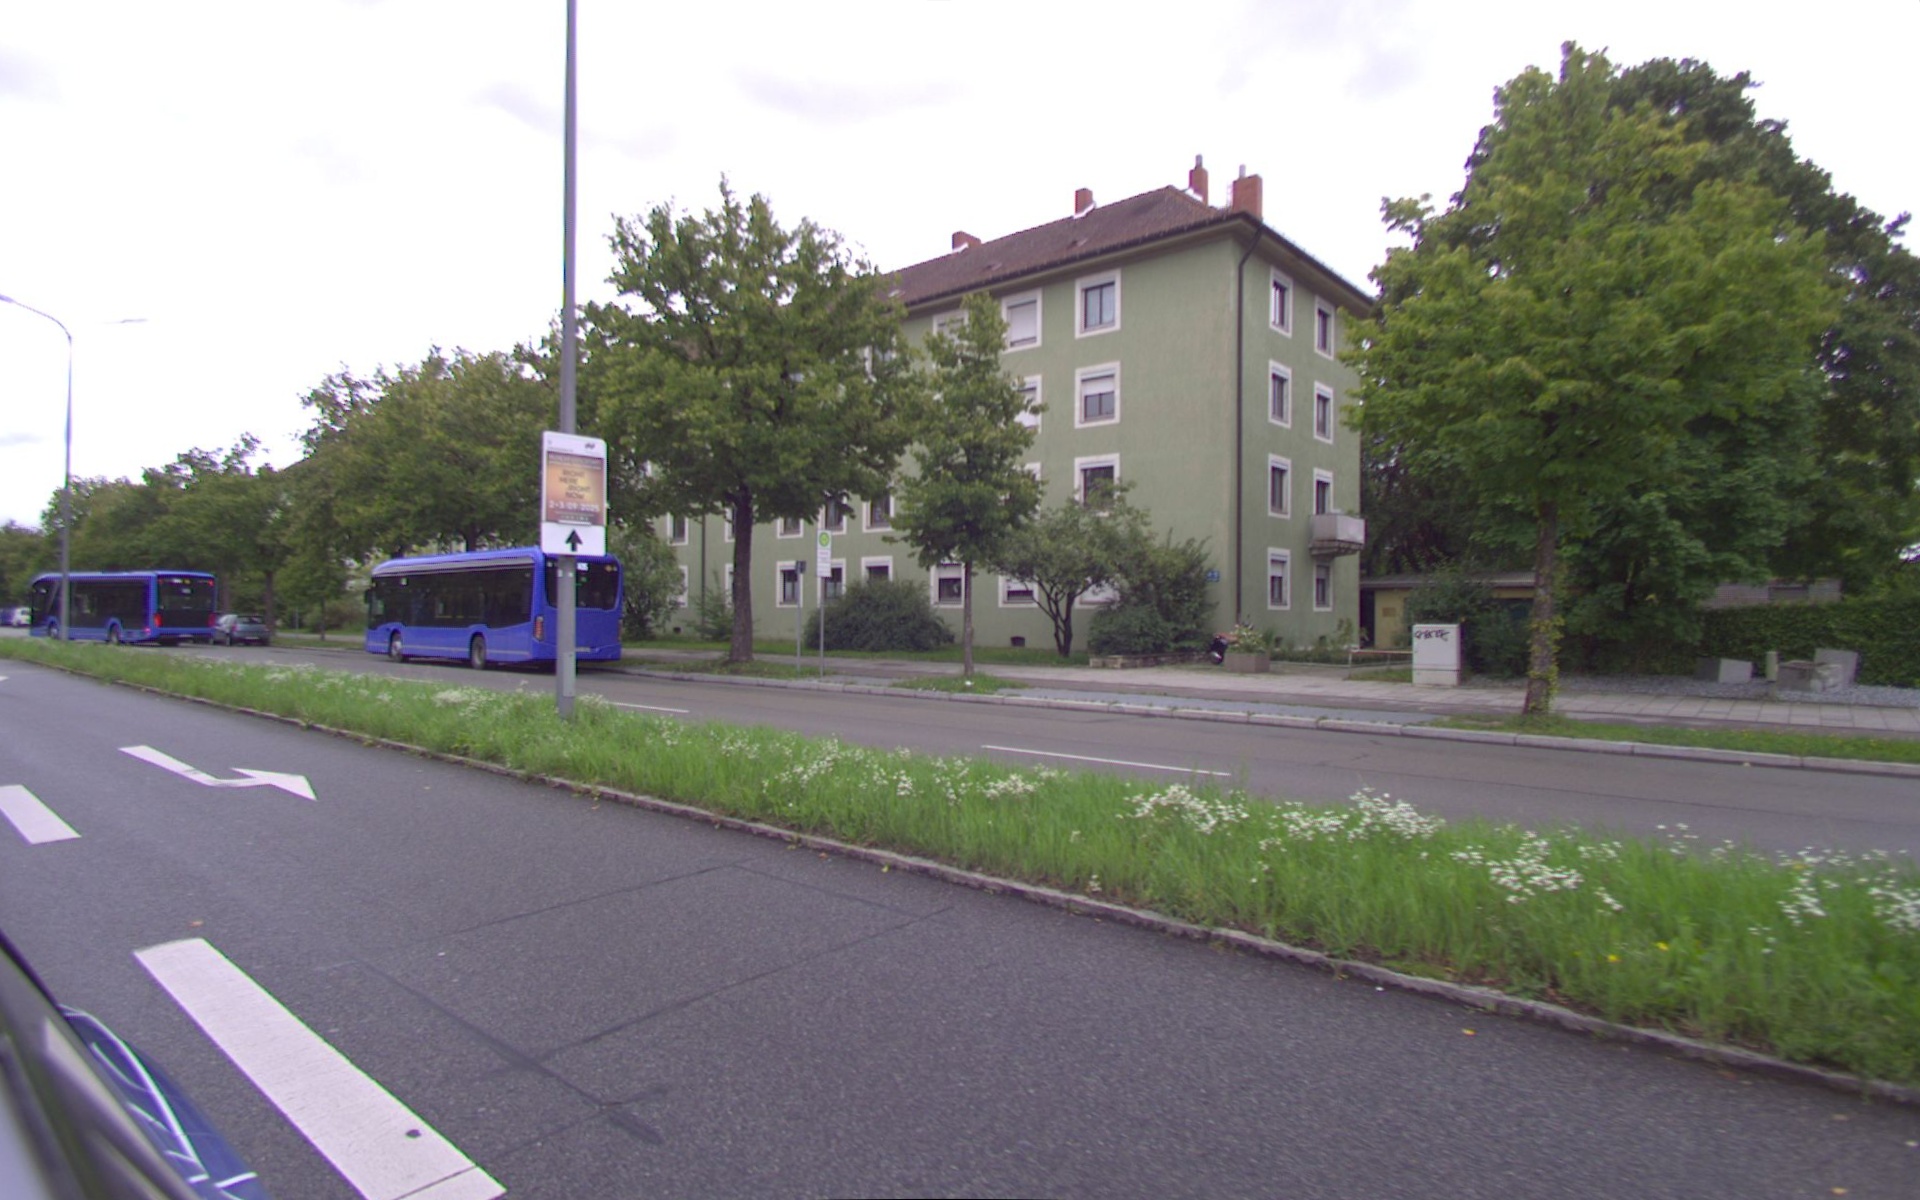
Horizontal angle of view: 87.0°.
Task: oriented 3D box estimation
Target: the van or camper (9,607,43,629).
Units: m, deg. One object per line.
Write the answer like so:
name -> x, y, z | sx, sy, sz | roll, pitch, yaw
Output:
van or camper -> -89.991, 1.735, 97.503 | 3.998, 2.029, 1.973 | -1, -1, 41

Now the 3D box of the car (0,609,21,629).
car -> -100.274, 2.016, 106.339 | 3.998, 2.029, 1.973 | -1, -1, 41

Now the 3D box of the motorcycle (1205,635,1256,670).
motorcycle -> 7.077, 1.368, 26.497 | 1.234, 0.889, 0.429 | -1, -1, 41

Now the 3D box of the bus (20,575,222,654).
bus -> -39.027, 0.660, 46.863 | 12.217, 3.369, 2.728 | 0, -2, 28

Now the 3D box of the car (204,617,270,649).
car -> -35.207, 1.564, 49.227 | 3.909, 1.473, 1.832 | -1, 0, 42

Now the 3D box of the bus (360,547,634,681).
bus -> -14.305, 0.442, 30.415 | 12.043, 3.369, 2.716 | -1, -3, 41
